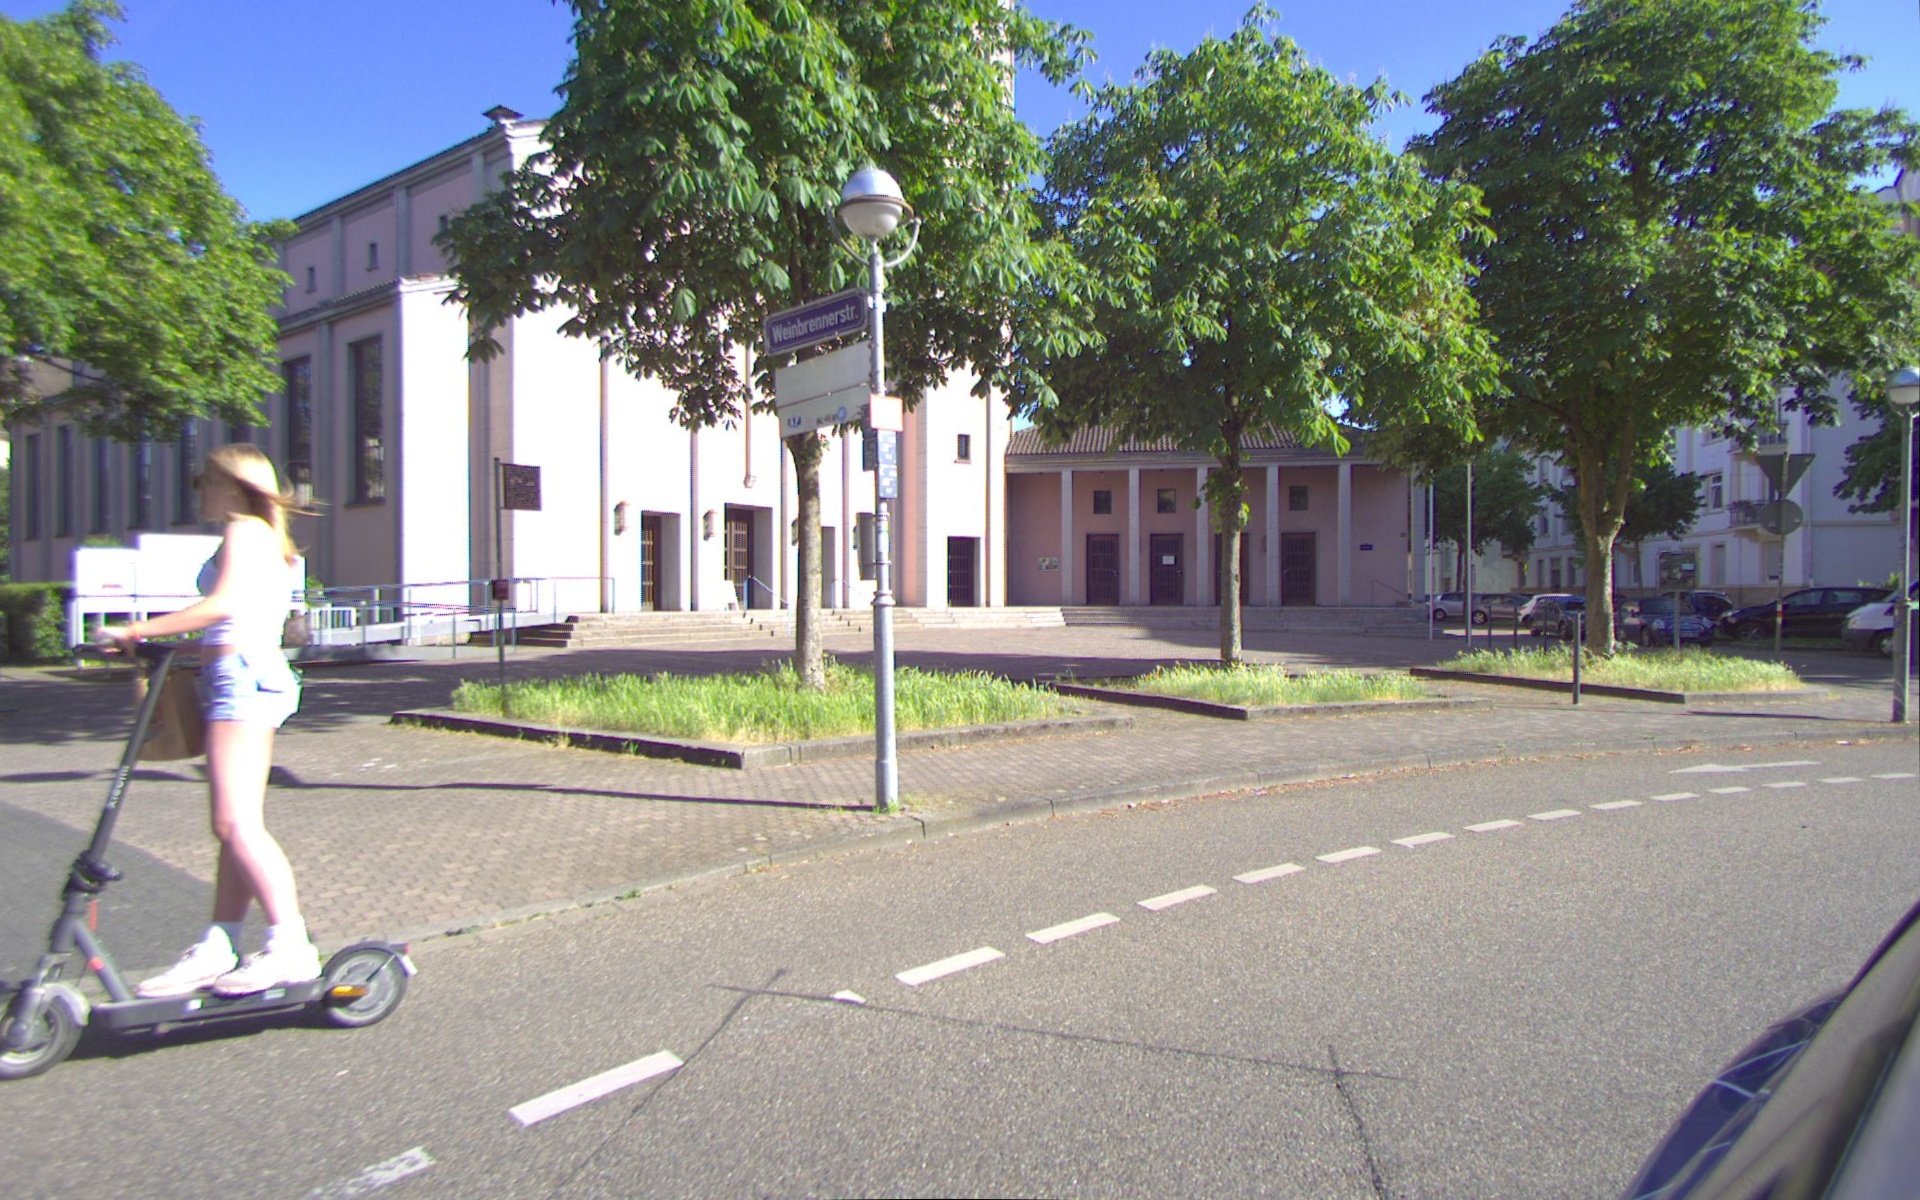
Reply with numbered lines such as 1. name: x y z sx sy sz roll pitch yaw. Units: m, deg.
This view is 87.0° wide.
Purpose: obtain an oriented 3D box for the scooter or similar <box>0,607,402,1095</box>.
1. scooter or similar: -2.387 0.679 3.189 1.084 1.299 0.633 0 0 -28

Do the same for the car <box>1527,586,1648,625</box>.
1. car: 25.691 0.182 41.501 1.732 1.515 3.946 -1 1 -43

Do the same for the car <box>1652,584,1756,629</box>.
1. car: 28.853 0.215 39.393 1.734 1.678 3.942 0 1 12

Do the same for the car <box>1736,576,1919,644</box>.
1. car: 24.072 0.239 28.088 3.940 1.760 1.735 0 1 42

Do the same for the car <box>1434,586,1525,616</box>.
1. car: 27.499 0.046 53.668 1.732 1.515 3.946 -1 1 -43

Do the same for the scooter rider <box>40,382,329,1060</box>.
1. scooter rider: -2.386 0.327 3.193 0.619 1.855 0.626 0 0 -28

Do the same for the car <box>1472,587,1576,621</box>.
1. car: 26.577 0.154 47.760 1.732 1.515 3.946 -1 1 -43

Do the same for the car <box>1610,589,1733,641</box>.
1. car: 20.772 0.391 29.711 1.589 1.440 3.602 0 0 11

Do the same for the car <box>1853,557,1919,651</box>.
1. car: 22.769 0.079 22.205 4.692 2.071 1.962 0 1 45

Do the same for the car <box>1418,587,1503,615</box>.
1. car: 28.134 0.048 56.926 1.732 1.515 3.946 -1 1 -43

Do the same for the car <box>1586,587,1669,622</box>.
1. car: 29.715 0.182 45.165 1.734 1.474 3.942 0 1 12

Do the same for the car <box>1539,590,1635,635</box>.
1. car: 21.233 0.374 34.401 1.589 1.440 3.602 0 0 11
